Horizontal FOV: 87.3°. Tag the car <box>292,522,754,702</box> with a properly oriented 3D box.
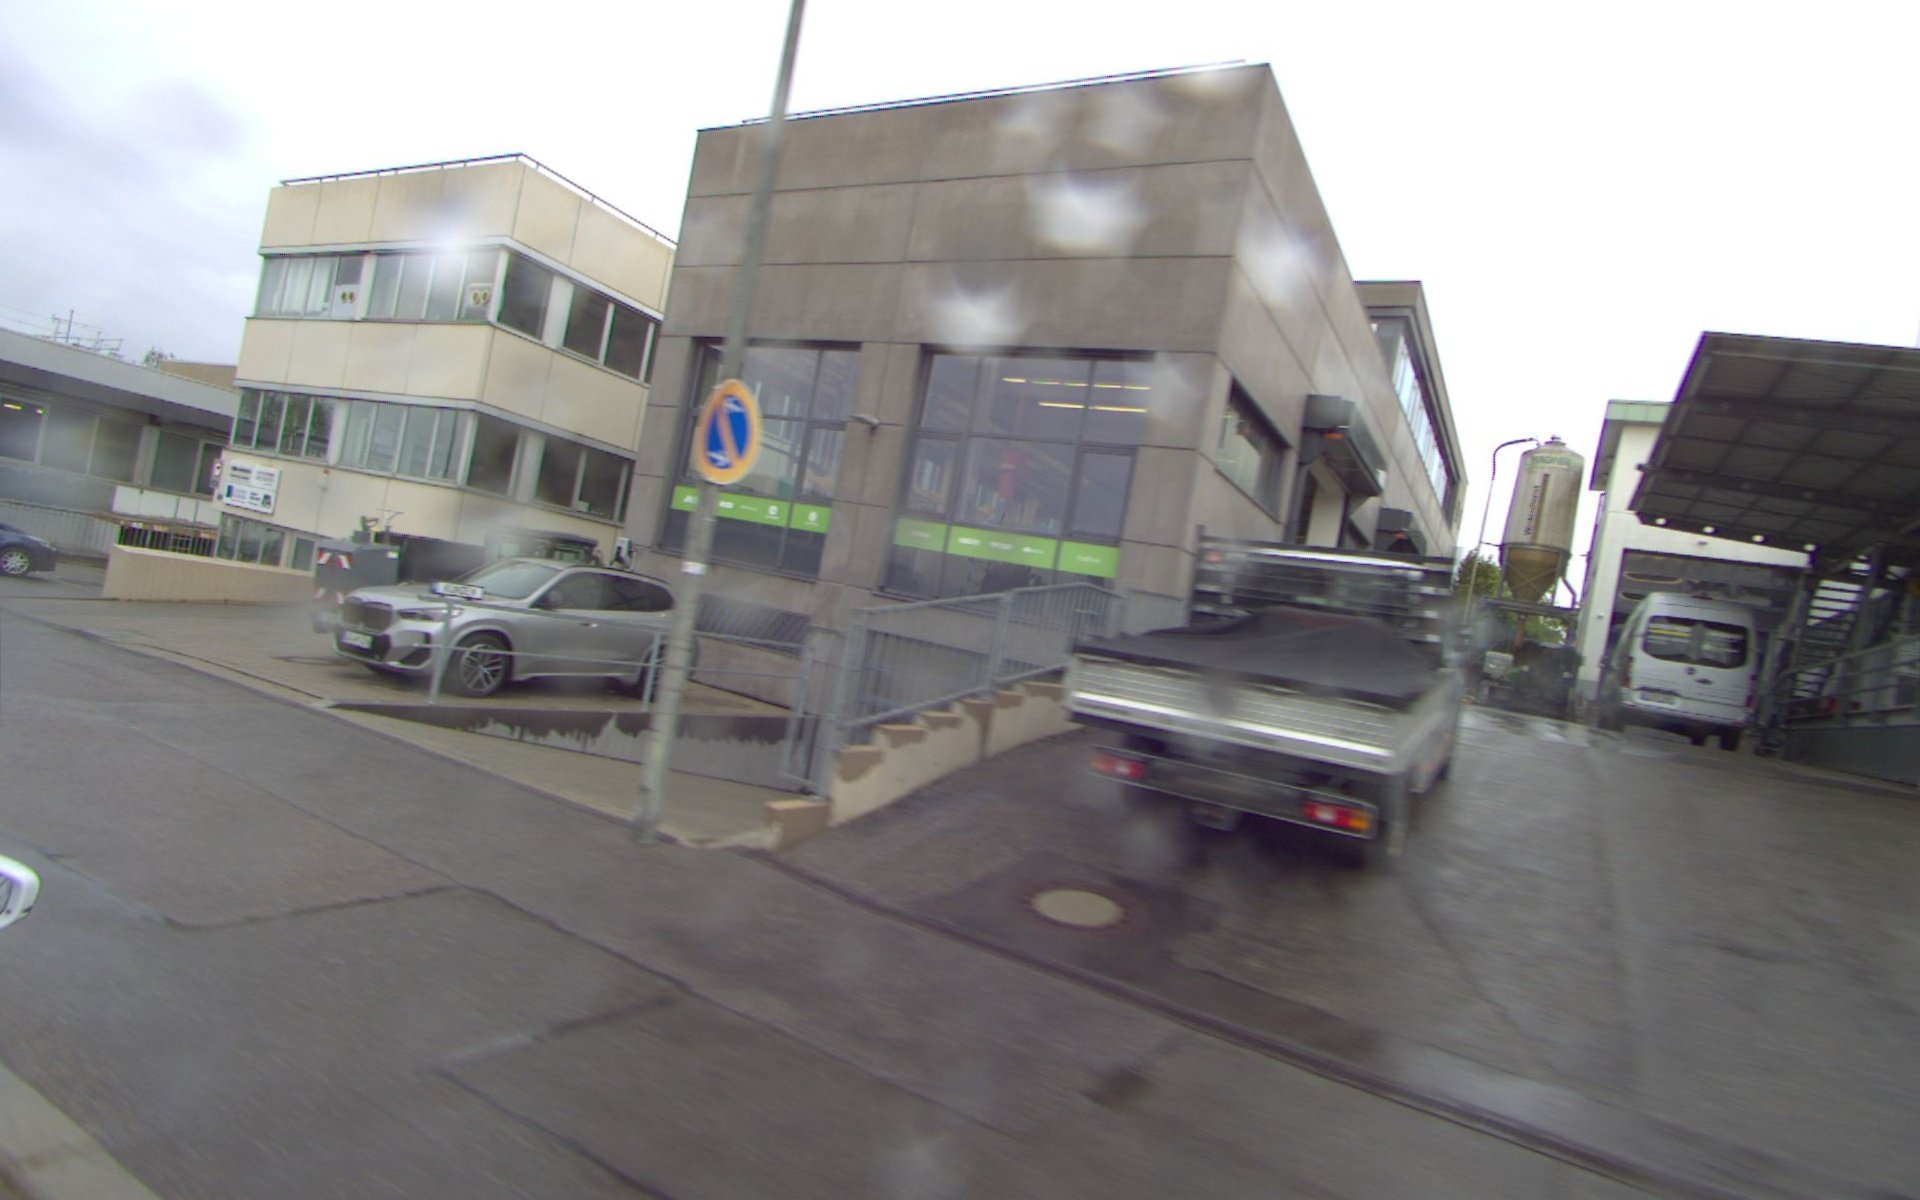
[{"bbox_3d":[-5.103,0.310,12.673,1.892,1.632,5.103,7,-2,29],"label":"car"}]

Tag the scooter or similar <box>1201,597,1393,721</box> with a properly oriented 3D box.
[{"bbox_3d":[4.362,0.732,13.059,2.031,1.241,1.064,9,3,33],"label":"scooter or similar"}]

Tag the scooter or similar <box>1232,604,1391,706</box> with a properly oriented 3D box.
[{"bbox_3d":[4.934,0.747,14.141,1.815,1.170,1.004,7,2,33],"label":"scooter or similar"}]

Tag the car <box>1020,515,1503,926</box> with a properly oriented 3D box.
[{"bbox_3d":[2.765,0.517,7.976,2.185,2.043,5.291,6,5,32],"label":"car"}]

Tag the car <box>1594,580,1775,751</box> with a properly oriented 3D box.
[{"bbox_3d":[13.969,1.363,19.753,1.966,2.651,5.404,9,-1,30],"label":"car"}]

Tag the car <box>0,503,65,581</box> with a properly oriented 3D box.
[{"bbox_3d":[-20.227,-1.417,19.426,1.790,1.398,3.909,6,-5,29],"label":"car"}]

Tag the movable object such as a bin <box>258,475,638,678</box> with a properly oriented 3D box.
[{"bbox_3d":[-6.636,-0.171,13.585,1.452,2.135,4.263,7,-2,30],"label":"movable object such as a bin"}]
